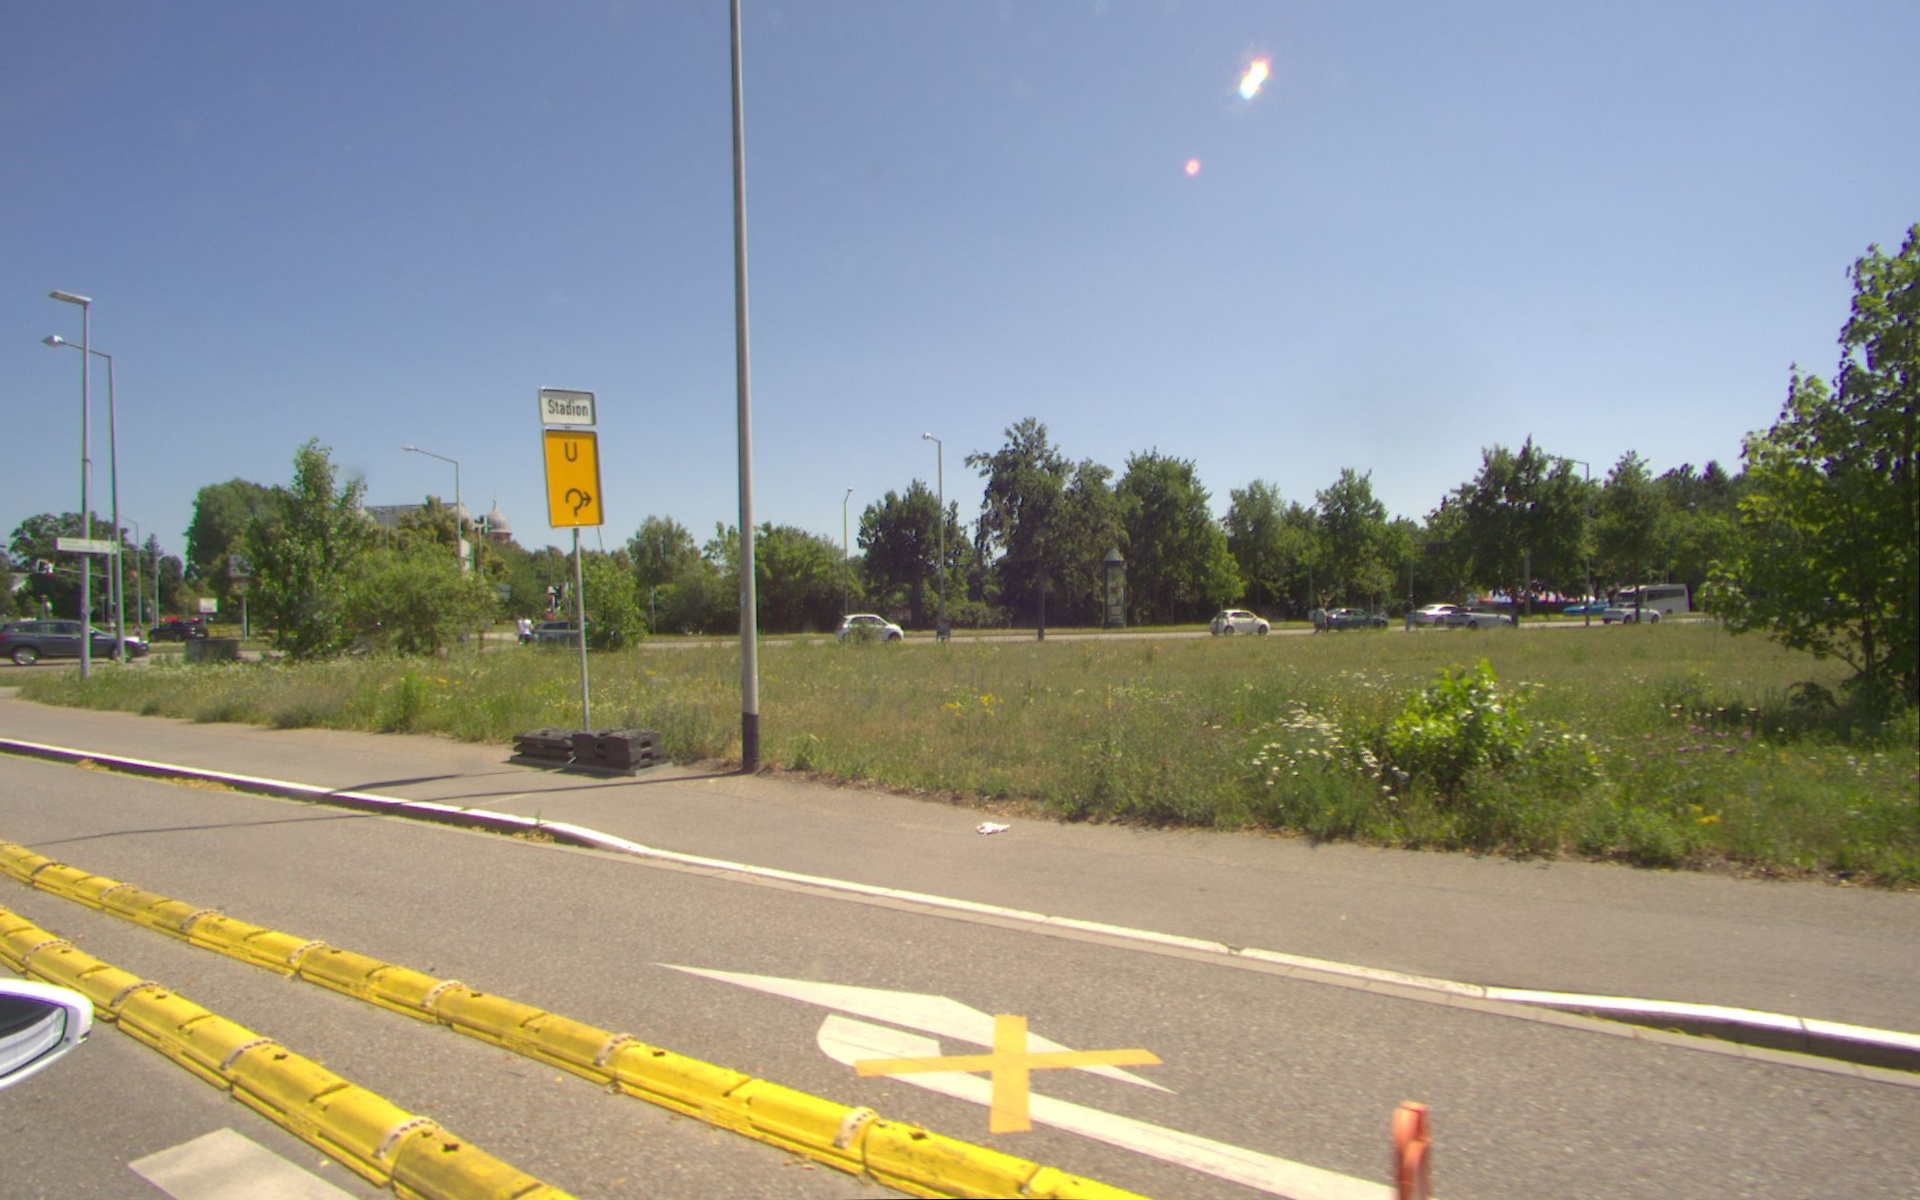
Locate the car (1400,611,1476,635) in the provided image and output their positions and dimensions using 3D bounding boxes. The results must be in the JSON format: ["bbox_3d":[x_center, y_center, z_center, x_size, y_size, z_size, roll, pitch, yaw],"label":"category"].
[{"bbox_3d":[31.701,1.543,66.407,4.559,1.572,1.738,0,-1,-16],"label":"car"}]

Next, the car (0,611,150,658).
[{"bbox_3d":[-32.759,1.251,36.822,1.978,1.616,4.410,-1,-2,42],"label":"car"}]

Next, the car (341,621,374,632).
[{"bbox_3d":[-91.694,4.013,152.418,1.963,1.736,3.997,-1,-1,14],"label":"car"}]

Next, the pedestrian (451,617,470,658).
[{"bbox_3d":[-19.565,1.473,39.206,0.506,1.583,0.496,-1,-1,32],"label":"pedestrian"}]

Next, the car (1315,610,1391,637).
[{"bbox_3d":[23.914,1.438,60.944,4.335,1.571,1.736,1,-2,-21],"label":"car"}]

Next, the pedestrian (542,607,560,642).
[{"bbox_3d":[-22.649,1.352,55.421,0.726,1.894,0.648,-1,-1,33],"label":"pedestrian"}]

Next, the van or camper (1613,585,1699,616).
[{"bbox_3d":[62.466,0.069,89.877,7.383,2.728,2.508,0,-1,-19],"label":"van or camper"}]

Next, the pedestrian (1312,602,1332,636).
[{"bbox_3d":[16.882,0.902,46.734,0.724,1.583,0.497,0,-1,-18],"label":"pedestrian"}]

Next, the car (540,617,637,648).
[{"bbox_3d":[-17.581,1.540,47.583,4.131,1.408,1.899,0,-1,-15],"label":"car"}]

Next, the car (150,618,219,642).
[{"bbox_3d":[-59.320,2.295,76.610,4.122,1.695,1.947,-1,0,12],"label":"car"}]

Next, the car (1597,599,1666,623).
[{"bbox_3d":[45.155,0.760,67.342,3.928,1.572,1.738,0,-1,-16],"label":"car"}]

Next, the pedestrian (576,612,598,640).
[{"bbox_3d":[-20.813,1.446,55.878,0.811,1.583,0.791,-1,-1,33],"label":"pedestrian"}]

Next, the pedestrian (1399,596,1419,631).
[{"bbox_3d":[22.150,0.684,49.379,0.724,1.712,0.497,0,-1,-18],"label":"pedestrian"}]

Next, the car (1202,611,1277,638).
[{"bbox_3d":[16.339,1.423,58.642,3.928,1.572,1.738,0,-1,-16],"label":"car"}]

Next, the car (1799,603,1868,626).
[{"bbox_3d":[60.444,0.998,69.331,3.928,1.572,1.738,0,-1,-16],"label":"car"}]

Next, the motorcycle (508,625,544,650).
[{"bbox_3d":[-17.219,1.474,39.740,0.619,0.982,1.709,0,-1,3],"label":"motorcycle"}]

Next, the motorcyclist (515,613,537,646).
[{"bbox_3d":[-17.244,1.183,39.785,0.570,1.306,0.615,0,-1,3],"label":"motorcyclist"}]

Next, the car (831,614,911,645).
[{"bbox_3d":[-4.693,1.546,52.524,3.928,1.572,1.738,0,-1,-16],"label":"car"}]

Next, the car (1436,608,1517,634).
[{"bbox_3d":[31.093,1.289,60.318,3.999,1.524,1.999,0,-1,-12],"label":"car"}]

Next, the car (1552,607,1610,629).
[{"bbox_3d":[51.916,1.507,83.752,3.927,1.861,1.998,0,-1,-15],"label":"car"}]
